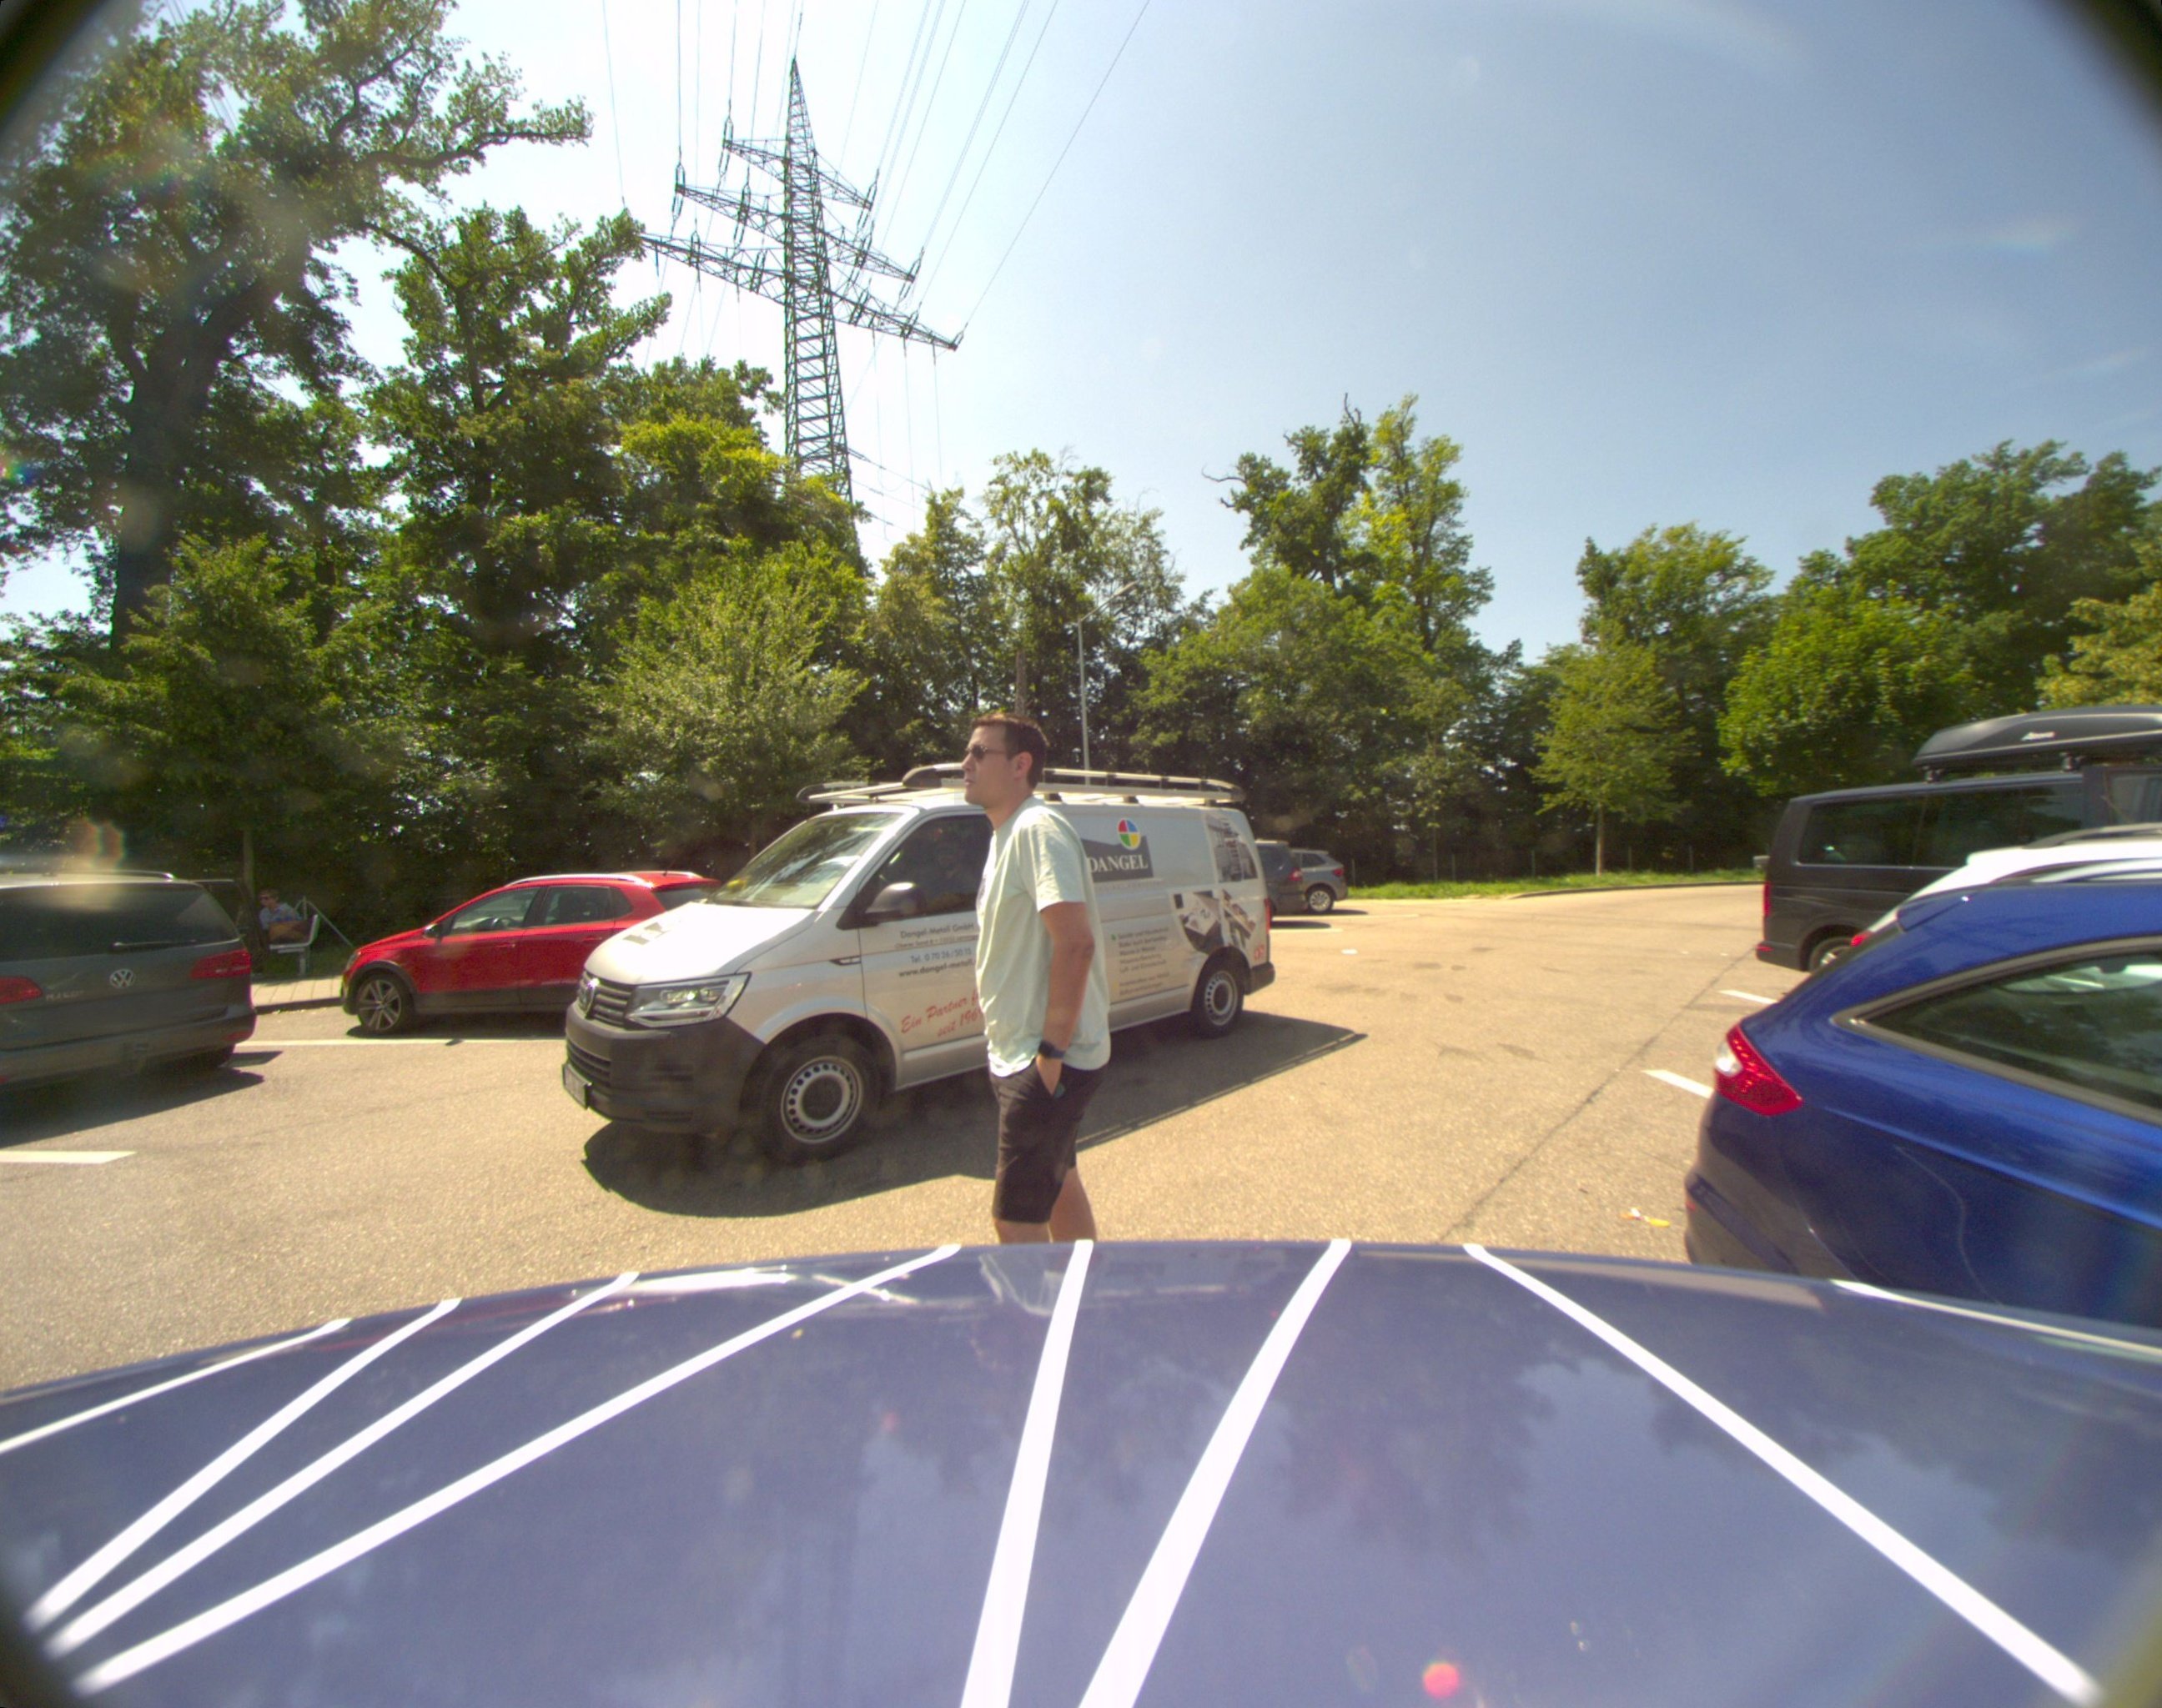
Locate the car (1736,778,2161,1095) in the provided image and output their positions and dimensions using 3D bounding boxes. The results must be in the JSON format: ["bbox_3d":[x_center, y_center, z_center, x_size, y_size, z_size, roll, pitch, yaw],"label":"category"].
[{"bbox_3d":[7.310,0.456,5.027,2.048,1.850,4.430,-2,-1,-1],"label":"car"}]

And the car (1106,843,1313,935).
[{"bbox_3d":[2.531,0.680,15.493,3.882,1.680,1.882,-1,0,5],"label":"car"}]

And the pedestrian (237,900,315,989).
[{"bbox_3d":[-11.764,1.306,11.106,0.680,1.211,0.675,-4,-2,36],"label":"pedestrian"}]

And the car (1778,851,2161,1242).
[{"bbox_3d":[4.782,0.701,2.431,1.607,1.405,3.743,-2,-1,-1],"label":"car"}]

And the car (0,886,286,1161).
[{"bbox_3d":[-8.341,1.095,5.445,3.950,1.581,1.753,-1,1,11],"label":"car"}]

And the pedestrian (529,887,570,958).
[{"bbox_3d":[-10.164,1.298,14.539,0.490,1.291,0.506,-2,0,41],"label":"pedestrian"}]

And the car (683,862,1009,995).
[{"bbox_3d":[-3.003,0.938,10.295,3.806,1.538,1.759,-1,1,2],"label":"car"}]

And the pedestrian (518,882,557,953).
[{"bbox_3d":[-10.982,1.269,15.354,0.490,1.367,0.506,-2,0,41],"label":"pedestrian"}]

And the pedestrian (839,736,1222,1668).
[{"bbox_3d":[-0.158,0.698,2.004,0.635,1.857,0.747,-2,0,-38],"label":"pedestrian"}]

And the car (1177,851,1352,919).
[{"bbox_3d":[4.261,0.707,18.119,3.805,1.468,1.743,-1,1,5],"label":"car"}]

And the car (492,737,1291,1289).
[{"bbox_3d":[-0.752,0.604,5.537,1.995,2.137,5.323,-2,-1,45],"label":"car"}]

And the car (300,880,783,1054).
[{"bbox_3d":[-5.240,1.064,7.652,3.804,1.449,1.637,-1,1,7],"label":"car"}]
